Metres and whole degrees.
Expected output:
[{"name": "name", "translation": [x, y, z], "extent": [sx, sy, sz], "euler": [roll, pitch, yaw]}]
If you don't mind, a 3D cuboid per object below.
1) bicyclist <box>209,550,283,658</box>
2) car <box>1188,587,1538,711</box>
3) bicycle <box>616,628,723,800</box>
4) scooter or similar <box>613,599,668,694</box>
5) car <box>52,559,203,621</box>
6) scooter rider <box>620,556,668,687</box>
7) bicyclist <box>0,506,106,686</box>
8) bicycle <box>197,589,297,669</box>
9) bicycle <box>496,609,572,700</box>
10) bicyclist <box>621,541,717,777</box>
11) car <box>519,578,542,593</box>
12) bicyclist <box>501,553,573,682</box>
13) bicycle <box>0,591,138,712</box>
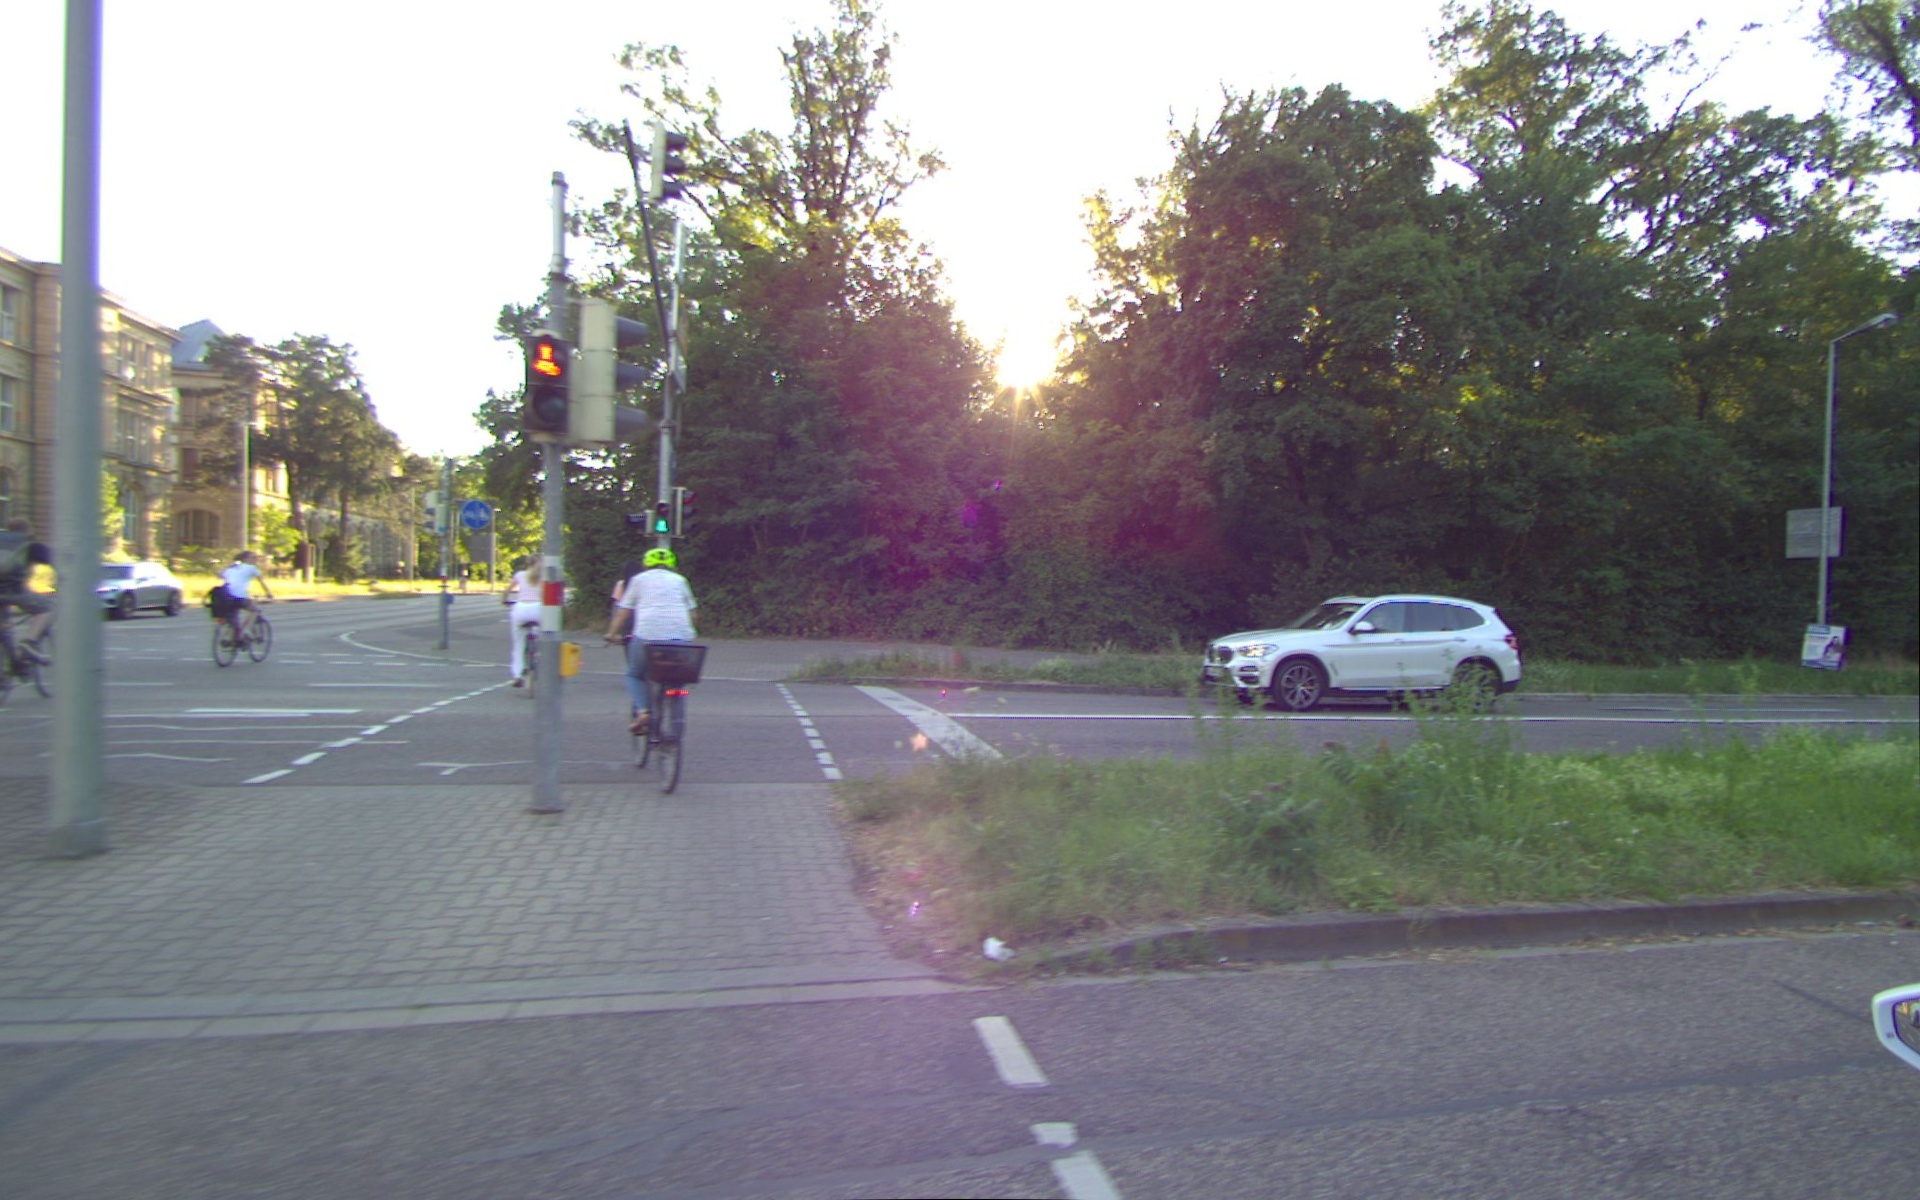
[{"name": "bicyclist", "translation": [-11.127, 0.060, 15.688], "extent": [0.595, 1.607, 0.907], "euler": [2, 0, -14]}, {"name": "car", "translation": [5.901, 0.734, 14.890], "extent": [4.559, 1.634, 1.824], "euler": [2, -2, -11]}, {"name": "bicycle", "translation": [-2.177, 0.763, 7.391], "extent": [0.557, 1.028, 1.792], "euler": [1, 1, -22]}, {"name": "scooter or similar", "translation": [-4.330, 0.603, 13.692], "extent": [0.554, 1.205, 1.418], "euler": [2, 0, -13]}, {"name": "car", "translation": [-24.490, -0.302, 29.779], "extent": [1.741, 1.657, 4.497], "euler": [1, 0, -16]}, {"name": "scooter rider", "translation": [-4.399, 0.297, 14.026], "extent": [0.557, 1.790, 0.503], "euler": [1, 0, -13]}, {"name": "bicyclist", "translation": [-9.096, -0.041, 9.908], "extent": [0.689, 1.689, 0.796], "euler": [3, 0, -14]}, {"name": "bicycle", "translation": [-11.159, 0.417, 15.793], "extent": [0.605, 1.153, 1.879], "euler": [2, 1, -14]}, {"name": "bicycle", "translation": [-5.265, 0.642, 12.508], "extent": [0.762, 1.020, 2.006], "euler": [2, -1, -21]}, {"name": "bicyclist", "translation": [-2.127, 0.400, 7.283], "extent": [0.548, 1.590, 0.894], "euler": [1, 1, -23]}, {"name": "car", "translation": [-43.436, -1.450, 101.632], "extent": [1.748, 1.494, 3.761], "euler": [1, 0, -18]}, {"name": "bicyclist", "translation": [-5.255, 0.220, 12.523], "extent": [0.751, 1.538, 0.852], "euler": [2, 0, -22]}, {"name": "bicycle", "translation": [-9.145, 0.464, 10.021], "extent": [0.689, 1.077, 1.820], "euler": [2, 0, -13]}]
